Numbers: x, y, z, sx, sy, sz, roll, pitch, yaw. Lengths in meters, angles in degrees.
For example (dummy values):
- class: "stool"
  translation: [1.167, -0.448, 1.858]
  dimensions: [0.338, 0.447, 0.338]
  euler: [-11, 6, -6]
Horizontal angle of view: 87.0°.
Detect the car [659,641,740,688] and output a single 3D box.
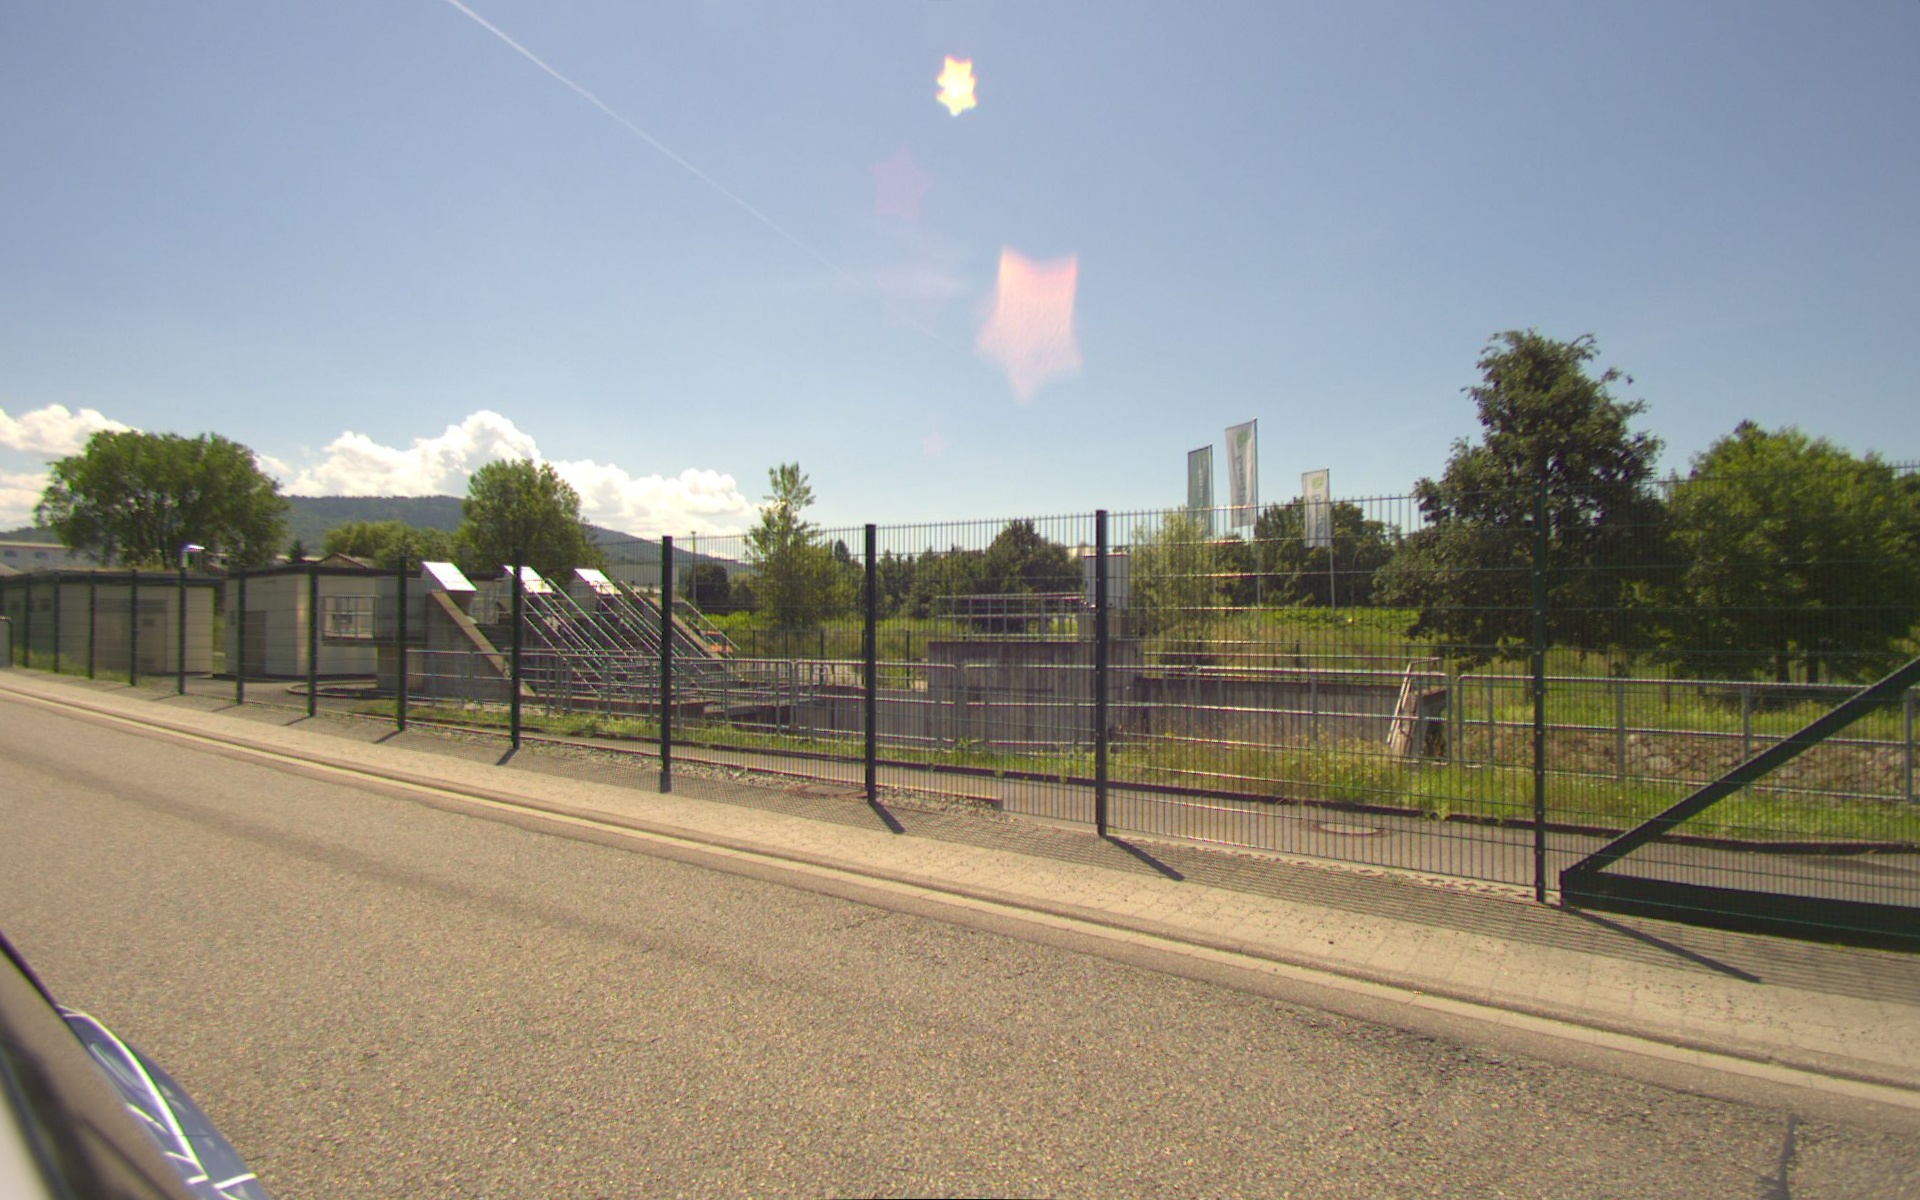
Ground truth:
- class: "car"
  translation: [-12.438, 3.031, 48.056]
  dimensions: [1.967, 2.029, 4.874]
  euler: [5, -4, -36]
